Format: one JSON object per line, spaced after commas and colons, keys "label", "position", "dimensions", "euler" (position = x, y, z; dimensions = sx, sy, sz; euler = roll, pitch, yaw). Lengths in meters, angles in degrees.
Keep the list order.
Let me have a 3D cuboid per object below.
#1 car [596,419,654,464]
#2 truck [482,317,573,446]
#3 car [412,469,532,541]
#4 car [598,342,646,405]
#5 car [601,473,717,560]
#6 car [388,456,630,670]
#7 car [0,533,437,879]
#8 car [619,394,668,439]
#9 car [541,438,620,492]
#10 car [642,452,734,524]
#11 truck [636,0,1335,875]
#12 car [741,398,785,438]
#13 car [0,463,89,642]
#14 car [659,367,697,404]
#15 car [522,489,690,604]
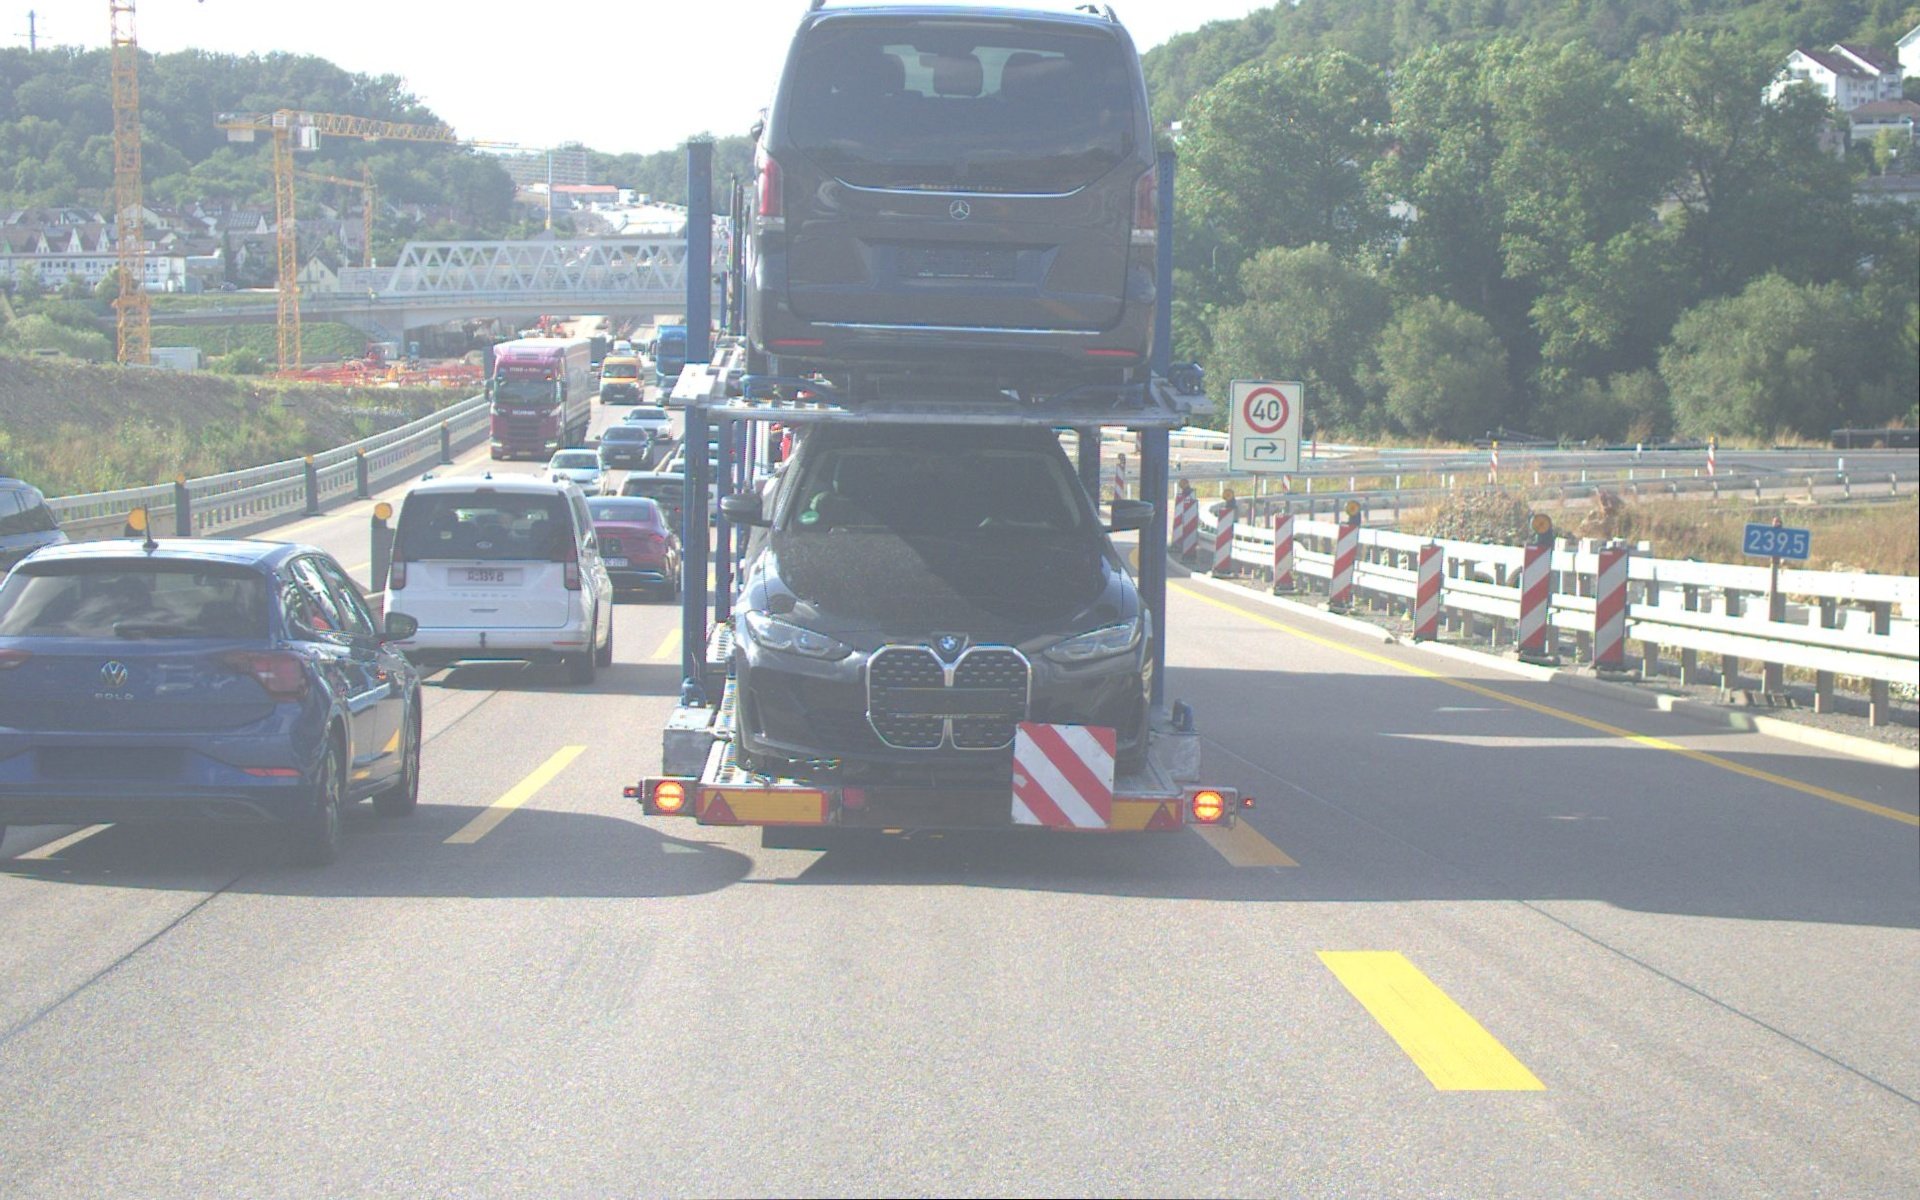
{"label": "car", "position": [-11.470, -5.420, 117.888], "dimensions": [1.821, 1.435, 4.615], "euler": [1, 2, -3]}
{"label": "truck", "position": [-15.623, -7.849, 124.486], "dimensions": [2.914, 4.372, 6.288], "euler": [2, 2, -5]}
{"label": "car", "position": [-10.157, -1.984, 71.832], "dimensions": [1.852, 1.435, 4.559], "euler": [1, 2, 0]}
{"label": "car", "position": [-17.561, -11.749, 178.671], "dimensions": [1.993, 2.870, 6.064], "euler": [1, 0, -1]}
{"label": "car", "position": [-5.719, -1.566, 65.642], "dimensions": [1.993, 1.547, 4.000], "euler": [1, 0, -2]}
{"label": "car", "position": [-4.017, -0.328, 31.181], "dimensions": [1.823, 1.786, 4.000], "euler": [1, 0, -3]}
{"label": "car", "position": [-3.582, 0.419, 16.267], "dimensions": [1.722, 1.417, 4.000], "euler": [1, 1, -2]}
{"label": "car", "position": [-12.626, -7.309, 137.342], "dimensions": [1.844, 1.642, 4.506], "euler": [1, 2, -4]}
{"label": "car", "position": [-10.460, -3.717, 94.956], "dimensions": [1.754, 1.435, 3.805], "euler": [1, 2, 0]}
{"label": "car", "position": [-6.576, -2.729, 83.454], "dimensions": [1.993, 1.660, 4.001], "euler": [1, 2, -2]}
{"label": "truck", "position": [-0.462, -1.159, 23.506], "dimensions": [2.753, 3.941, 18.893], "euler": [2, 2, -4]}
{"label": "car", "position": [-8.716, -8.021, 151.917], "dimensions": [1.844, 1.642, 4.506], "euler": [1, 2, -4]}
{"label": "car", "position": [-9.661, -0.453, 31.582], "dimensions": [1.853, 1.630, 4.748], "euler": [1, 2, 3]}
{"label": "car", "position": [-13.959, -10.604, 170.358], "dimensions": [1.844, 1.642, 4.237], "euler": [1, 2, -5]}
{"label": "car", "position": [-5.055, -0.748, 49.616], "dimensions": [1.993, 1.551, 4.401], "euler": [1, 0, -1]}
